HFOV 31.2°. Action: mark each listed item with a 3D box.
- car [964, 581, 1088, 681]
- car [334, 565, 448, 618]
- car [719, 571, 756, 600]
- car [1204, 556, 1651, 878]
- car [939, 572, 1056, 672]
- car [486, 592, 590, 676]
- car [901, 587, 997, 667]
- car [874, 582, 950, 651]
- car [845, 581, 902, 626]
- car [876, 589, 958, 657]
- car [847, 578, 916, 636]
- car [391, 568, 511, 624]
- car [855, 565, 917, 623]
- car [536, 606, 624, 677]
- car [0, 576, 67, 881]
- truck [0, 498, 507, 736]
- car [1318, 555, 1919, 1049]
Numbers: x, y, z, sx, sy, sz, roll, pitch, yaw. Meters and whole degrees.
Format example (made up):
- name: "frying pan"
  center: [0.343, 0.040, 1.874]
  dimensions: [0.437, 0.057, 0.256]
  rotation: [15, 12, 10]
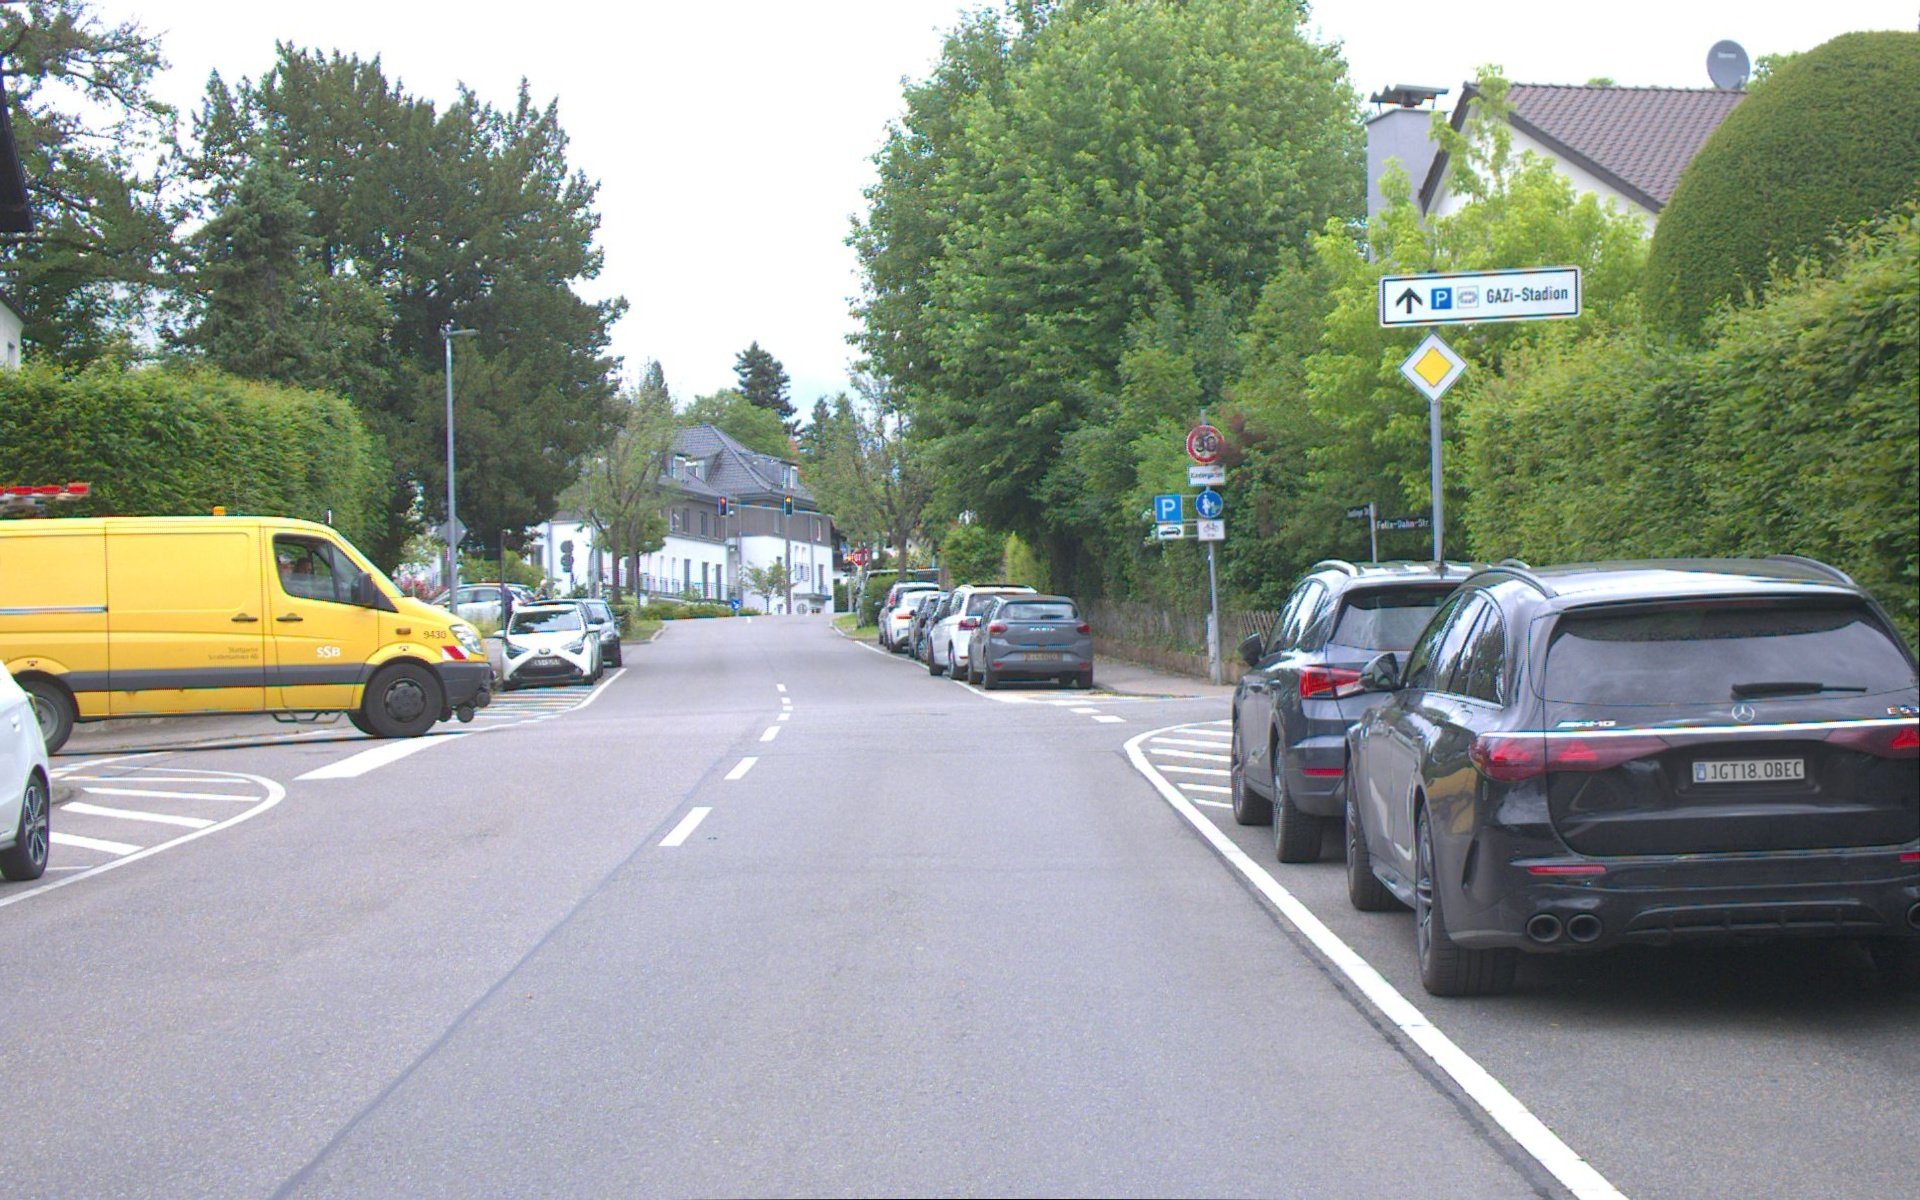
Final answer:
- name: "car"
  center: [1.045, 0.481, 55.999]
  dimensions: [1.664, 1.495, 3.468]
  rotation: [-1, 1, -4]
- name: "car"
  center: [-19.745, -0.294, 119.442]
  dimensions: [3.843, 1.731, 1.642]
  rotation: [-1, 1, -8]
- name: "car"
  center: [-11.439, -0.751, 176.377]
  dimensions: [1.822, 1.415, 4.001]
  rotation: [-1, 1, -4]
- name: "car"
  center: [2.420, 0.536, 18.856]
  dimensions: [1.882, 1.528, 4.475]
  rotation: [0, 1, 1]
- name: "car"
  center: [0.638, 0.362, 60.996]
  dimensions: [1.713, 1.652, 3.623]
  rotation: [-1, 1, -4]
- name: "car"
  center: [-7.587, 0.585, 61.612]
  dimensions: [1.664, 1.395, 3.468]
  rotation: [-1, 1, -9]
- name: "car"
  center: [-0.245, 0.530, 70.094]
  dimensions: [1.664, 1.495, 3.468]
  rotation: [-1, 1, -4]
- name: "car"
  center: [-1.241, 0.397, 87.777]
  dimensions: [1.664, 1.662, 3.468]
  rotation: [-1, 1, -4]
- name: "car"
  center: [-2.836, 0.102, 112.112]
  dimensions: [1.643, 1.367, 3.468]
  rotation: [-1, 1, -4]
- name: "car"
  center: [-1.020, 0.520, 80.628]
  dimensions: [1.664, 1.495, 3.468]
  rotation: [-1, 1, -4]
- name: "car"
  center: [-2.165, 0.172, 94.350]
  dimensions: [1.664, 1.495, 3.468]
  rotation: [-1, 1, -4]
- name: "car"
  center: [-16.758, -0.148, 113.216]
  dimensions: [3.843, 1.731, 1.642]
  rotation: [-1, 1, -8]
- name: "car"
  center: [-2.238, -0.201, 103.334]
  dimensions: [1.643, 1.662, 3.468]
  rotation: [-1, 1, -4]
- name: "car"
  center: [-8.169, 0.878, 73.749]
  dimensions: [1.664, 1.395, 3.468]
  rotation: [-1, 1, -9]
- name: "car"
  center: [-5.672, 0.715, 16.766]
  dimensions: [1.630, 1.518, 3.638]
  rotation: [-4, 1, -1]
- name: "truck"
  center: [-7.899, 0.201, 35.571]
  dimensions: [5.930, 2.301, 2.826]
  rotation: [0, -3, -18]
- name: "car"
  center: [2.514, 0.608, 13.046]
  dimensions: [1.882, 1.528, 4.475]
  rotation: [0, 1, 1]
